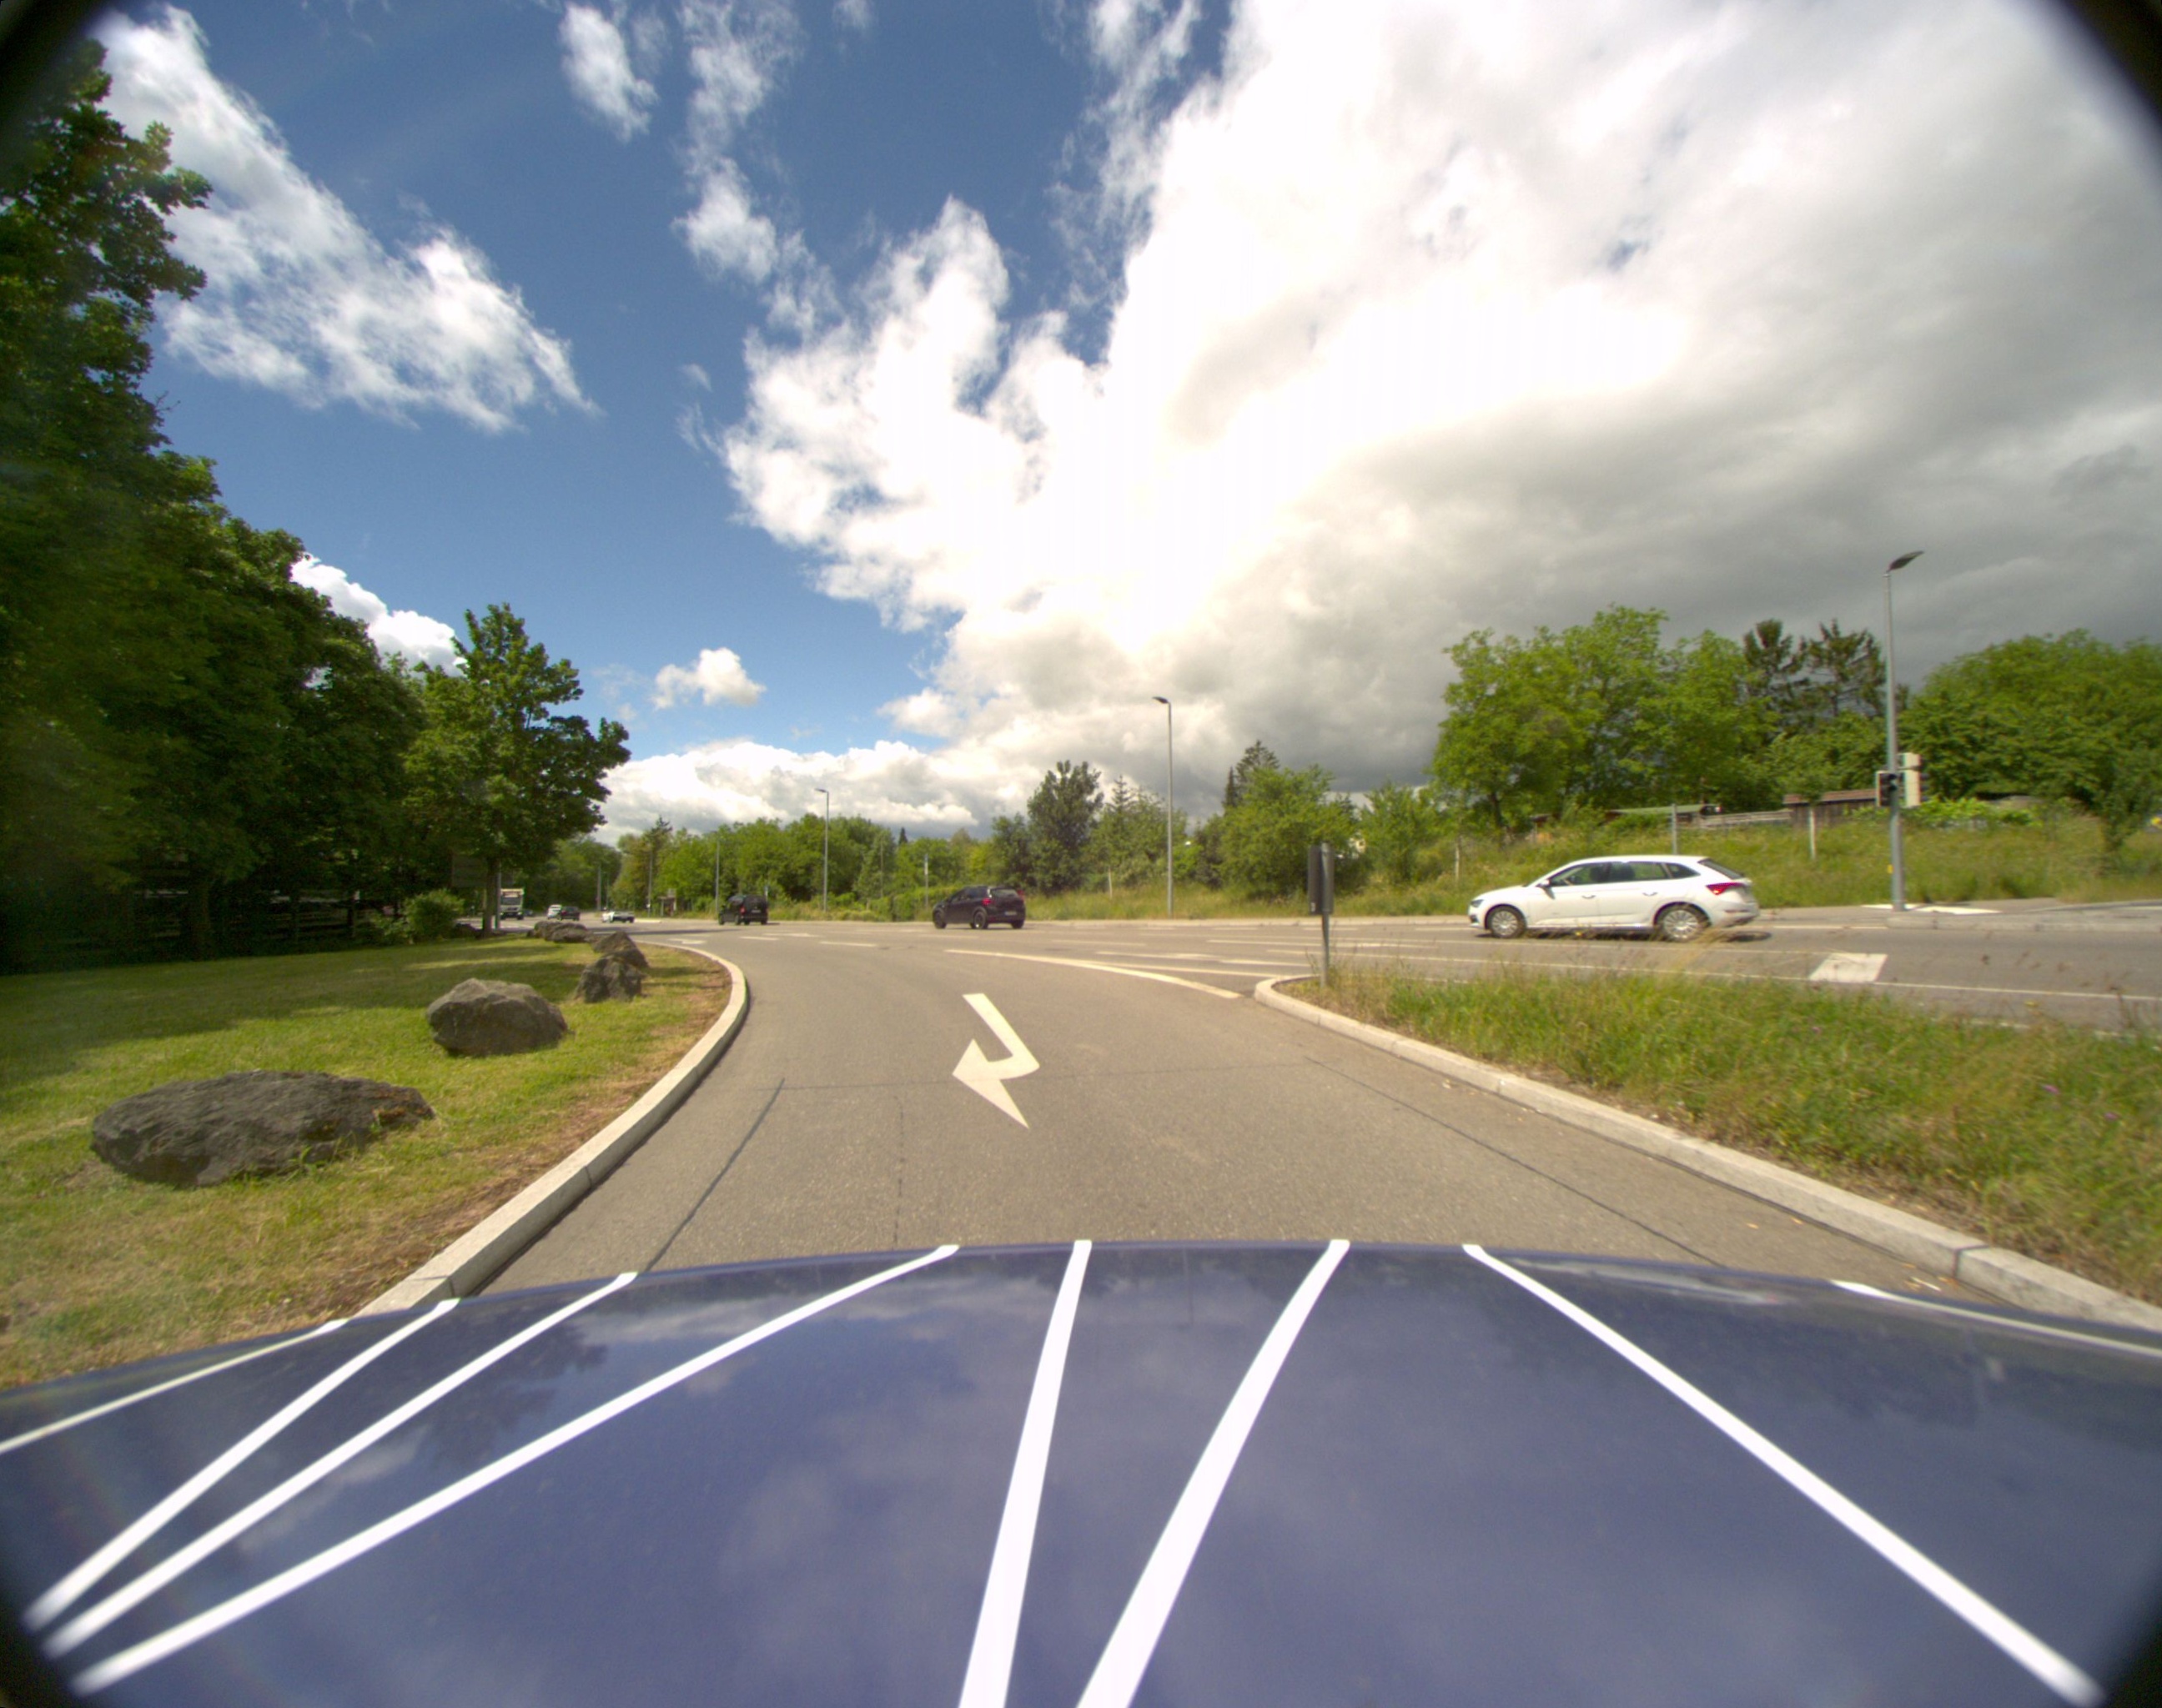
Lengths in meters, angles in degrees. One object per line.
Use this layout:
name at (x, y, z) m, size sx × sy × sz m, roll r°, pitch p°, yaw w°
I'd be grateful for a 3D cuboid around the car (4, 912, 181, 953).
car at (-38.157, 3.013, 29.447) m, size 3.860 × 1.383 × 1.693 m, roll 0°, pitch -3°, yaw -18°

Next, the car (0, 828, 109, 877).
car at (-36.706, -0.028, 26.102) m, size 3.706 × 1.531 × 1.726 m, roll 0°, pitch -5°, yaw -17°

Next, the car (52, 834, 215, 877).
car at (-37.547, 0.078, 30.234) m, size 3.706 × 1.552 × 1.658 m, roll 0°, pitch -5°, yaw -17°

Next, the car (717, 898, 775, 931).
car at (-20.462, 3.703, 46.316) m, size 1.794 × 1.767 × 4.801 m, roll 1°, pitch -6°, yaw -42°

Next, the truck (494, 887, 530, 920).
truck at (-70.625, 6.118, 94.341) m, size 3.251 × 3.835 × 9.849 m, roll 4°, pitch -4°, yaw -37°

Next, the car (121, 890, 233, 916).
car at (-53.430, 2.913, 44.999) m, size 3.861 × 1.433 × 1.751 m, roll 2°, pitch -3°, yaw -18°

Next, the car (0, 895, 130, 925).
car at (-52.740, 2.904, 39.405) m, size 3.861 × 1.476 × 1.751 m, roll 2°, pitch -3°, yaw -18°

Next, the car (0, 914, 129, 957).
car at (-37.731, 2.935, 27.438) m, size 3.860 × 1.383 × 1.693 m, roll 0°, pitch -3°, yaw -18°

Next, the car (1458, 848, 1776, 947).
car at (9.422, 0.771, 13.670) m, size 1.625 × 1.460 × 4.367 m, roll -3°, pitch -1°, yaw -43°

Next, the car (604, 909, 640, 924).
car at (-40.905, 5.549, 67.644) m, size 1.915 × 1.283 × 4.598 m, roll 3°, pitch -5°, yaw -41°

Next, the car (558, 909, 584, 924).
car at (-58.998, 7.208, 87.908) m, size 1.831 × 1.643 × 4.522 m, roll 3°, pitch -5°, yaw -42°

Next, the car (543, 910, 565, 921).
car at (-69.773, 8.098, 100.565) m, size 1.776 × 1.432 × 3.890 m, roll 4°, pitch -5°, yaw -43°

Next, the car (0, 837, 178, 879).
car at (-37.046, 0.187, 28.495) m, size 3.706 × 1.421 × 1.658 m, roll 0°, pitch -5°, yaw -17°

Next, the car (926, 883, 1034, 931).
car at (-3.708, 1.904, 27.397) m, size 1.794 × 1.568 × 4.154 m, roll 1°, pitch -3°, yaw -42°
